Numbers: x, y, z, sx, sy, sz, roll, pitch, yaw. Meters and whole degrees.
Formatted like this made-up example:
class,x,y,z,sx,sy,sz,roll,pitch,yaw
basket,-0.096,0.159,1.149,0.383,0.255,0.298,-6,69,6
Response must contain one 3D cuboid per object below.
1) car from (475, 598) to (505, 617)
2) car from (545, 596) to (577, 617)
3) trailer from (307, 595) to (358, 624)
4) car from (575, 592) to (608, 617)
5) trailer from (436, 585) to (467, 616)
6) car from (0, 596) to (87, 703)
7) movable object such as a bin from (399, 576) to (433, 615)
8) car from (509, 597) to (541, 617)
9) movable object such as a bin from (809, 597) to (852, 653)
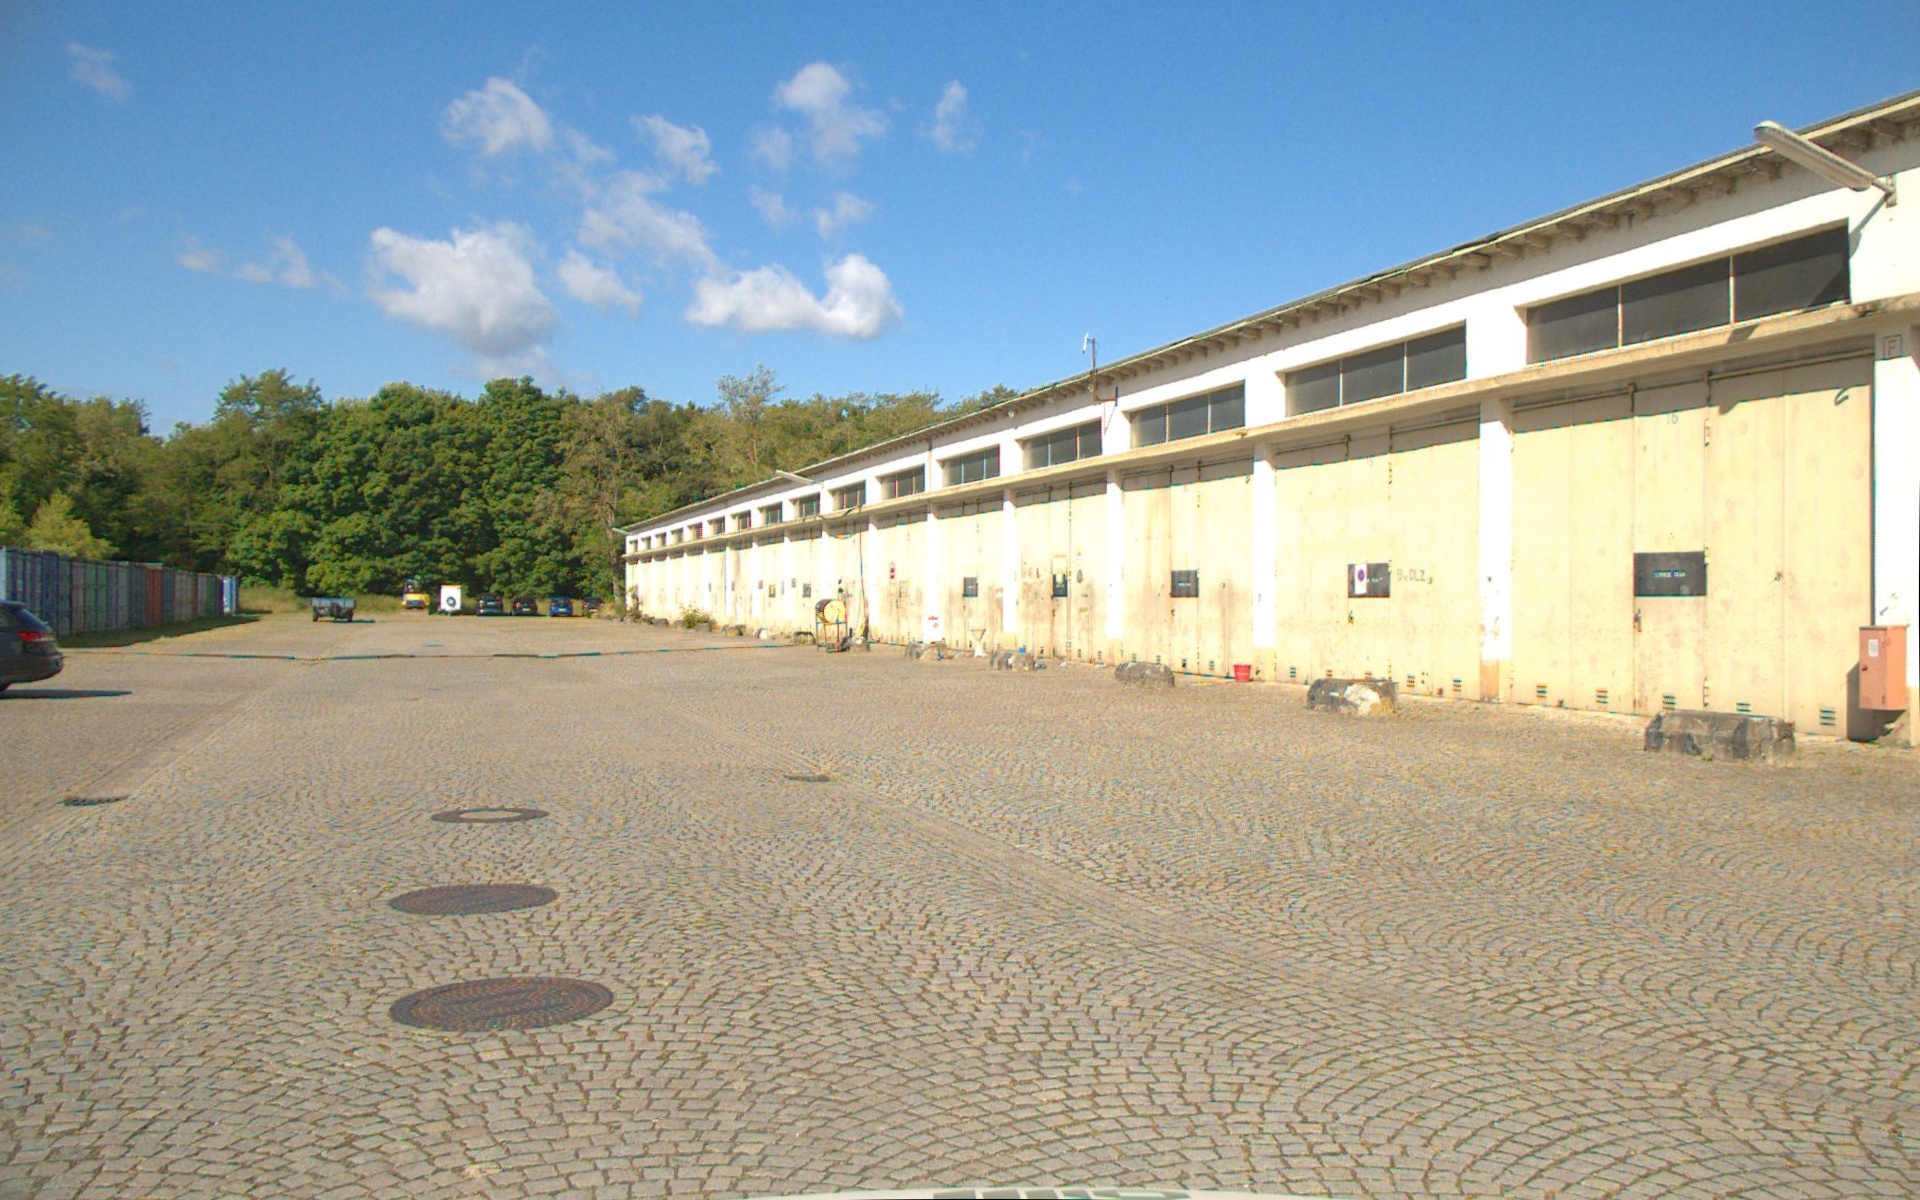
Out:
class,x,y,z,sx,sy,sz,roll,pitch,yaw
car,-33.963,0.524,119.449,1.963,1.280,3.979,0,0,-19
car,-29.312,0.433,121.445,1.963,1.491,3.979,0,0,-19
trailer,-37.838,0.560,99.866,2.749,1.675,5.589,0,0,-19
car,-27.501,0.297,123.384,1.963,1.803,3.979,0,0,-19
trailer,-36.833,0.051,119.753,1.963,2.200,4.407,0,0,-19
car,-14.959,0.689,23.463,4.353,1.490,1.987,0,0,-22
movable object such as a bin,-39.362,-0.332,119.674,2.200,2.703,3.975,0,0,-21
car,-31.727,0.485,120.618,1.963,1.449,3.979,0,0,-19
movable object such as a bin,-3.326,0.626,42.504,0.862,1.426,1.095,0,0,-20
